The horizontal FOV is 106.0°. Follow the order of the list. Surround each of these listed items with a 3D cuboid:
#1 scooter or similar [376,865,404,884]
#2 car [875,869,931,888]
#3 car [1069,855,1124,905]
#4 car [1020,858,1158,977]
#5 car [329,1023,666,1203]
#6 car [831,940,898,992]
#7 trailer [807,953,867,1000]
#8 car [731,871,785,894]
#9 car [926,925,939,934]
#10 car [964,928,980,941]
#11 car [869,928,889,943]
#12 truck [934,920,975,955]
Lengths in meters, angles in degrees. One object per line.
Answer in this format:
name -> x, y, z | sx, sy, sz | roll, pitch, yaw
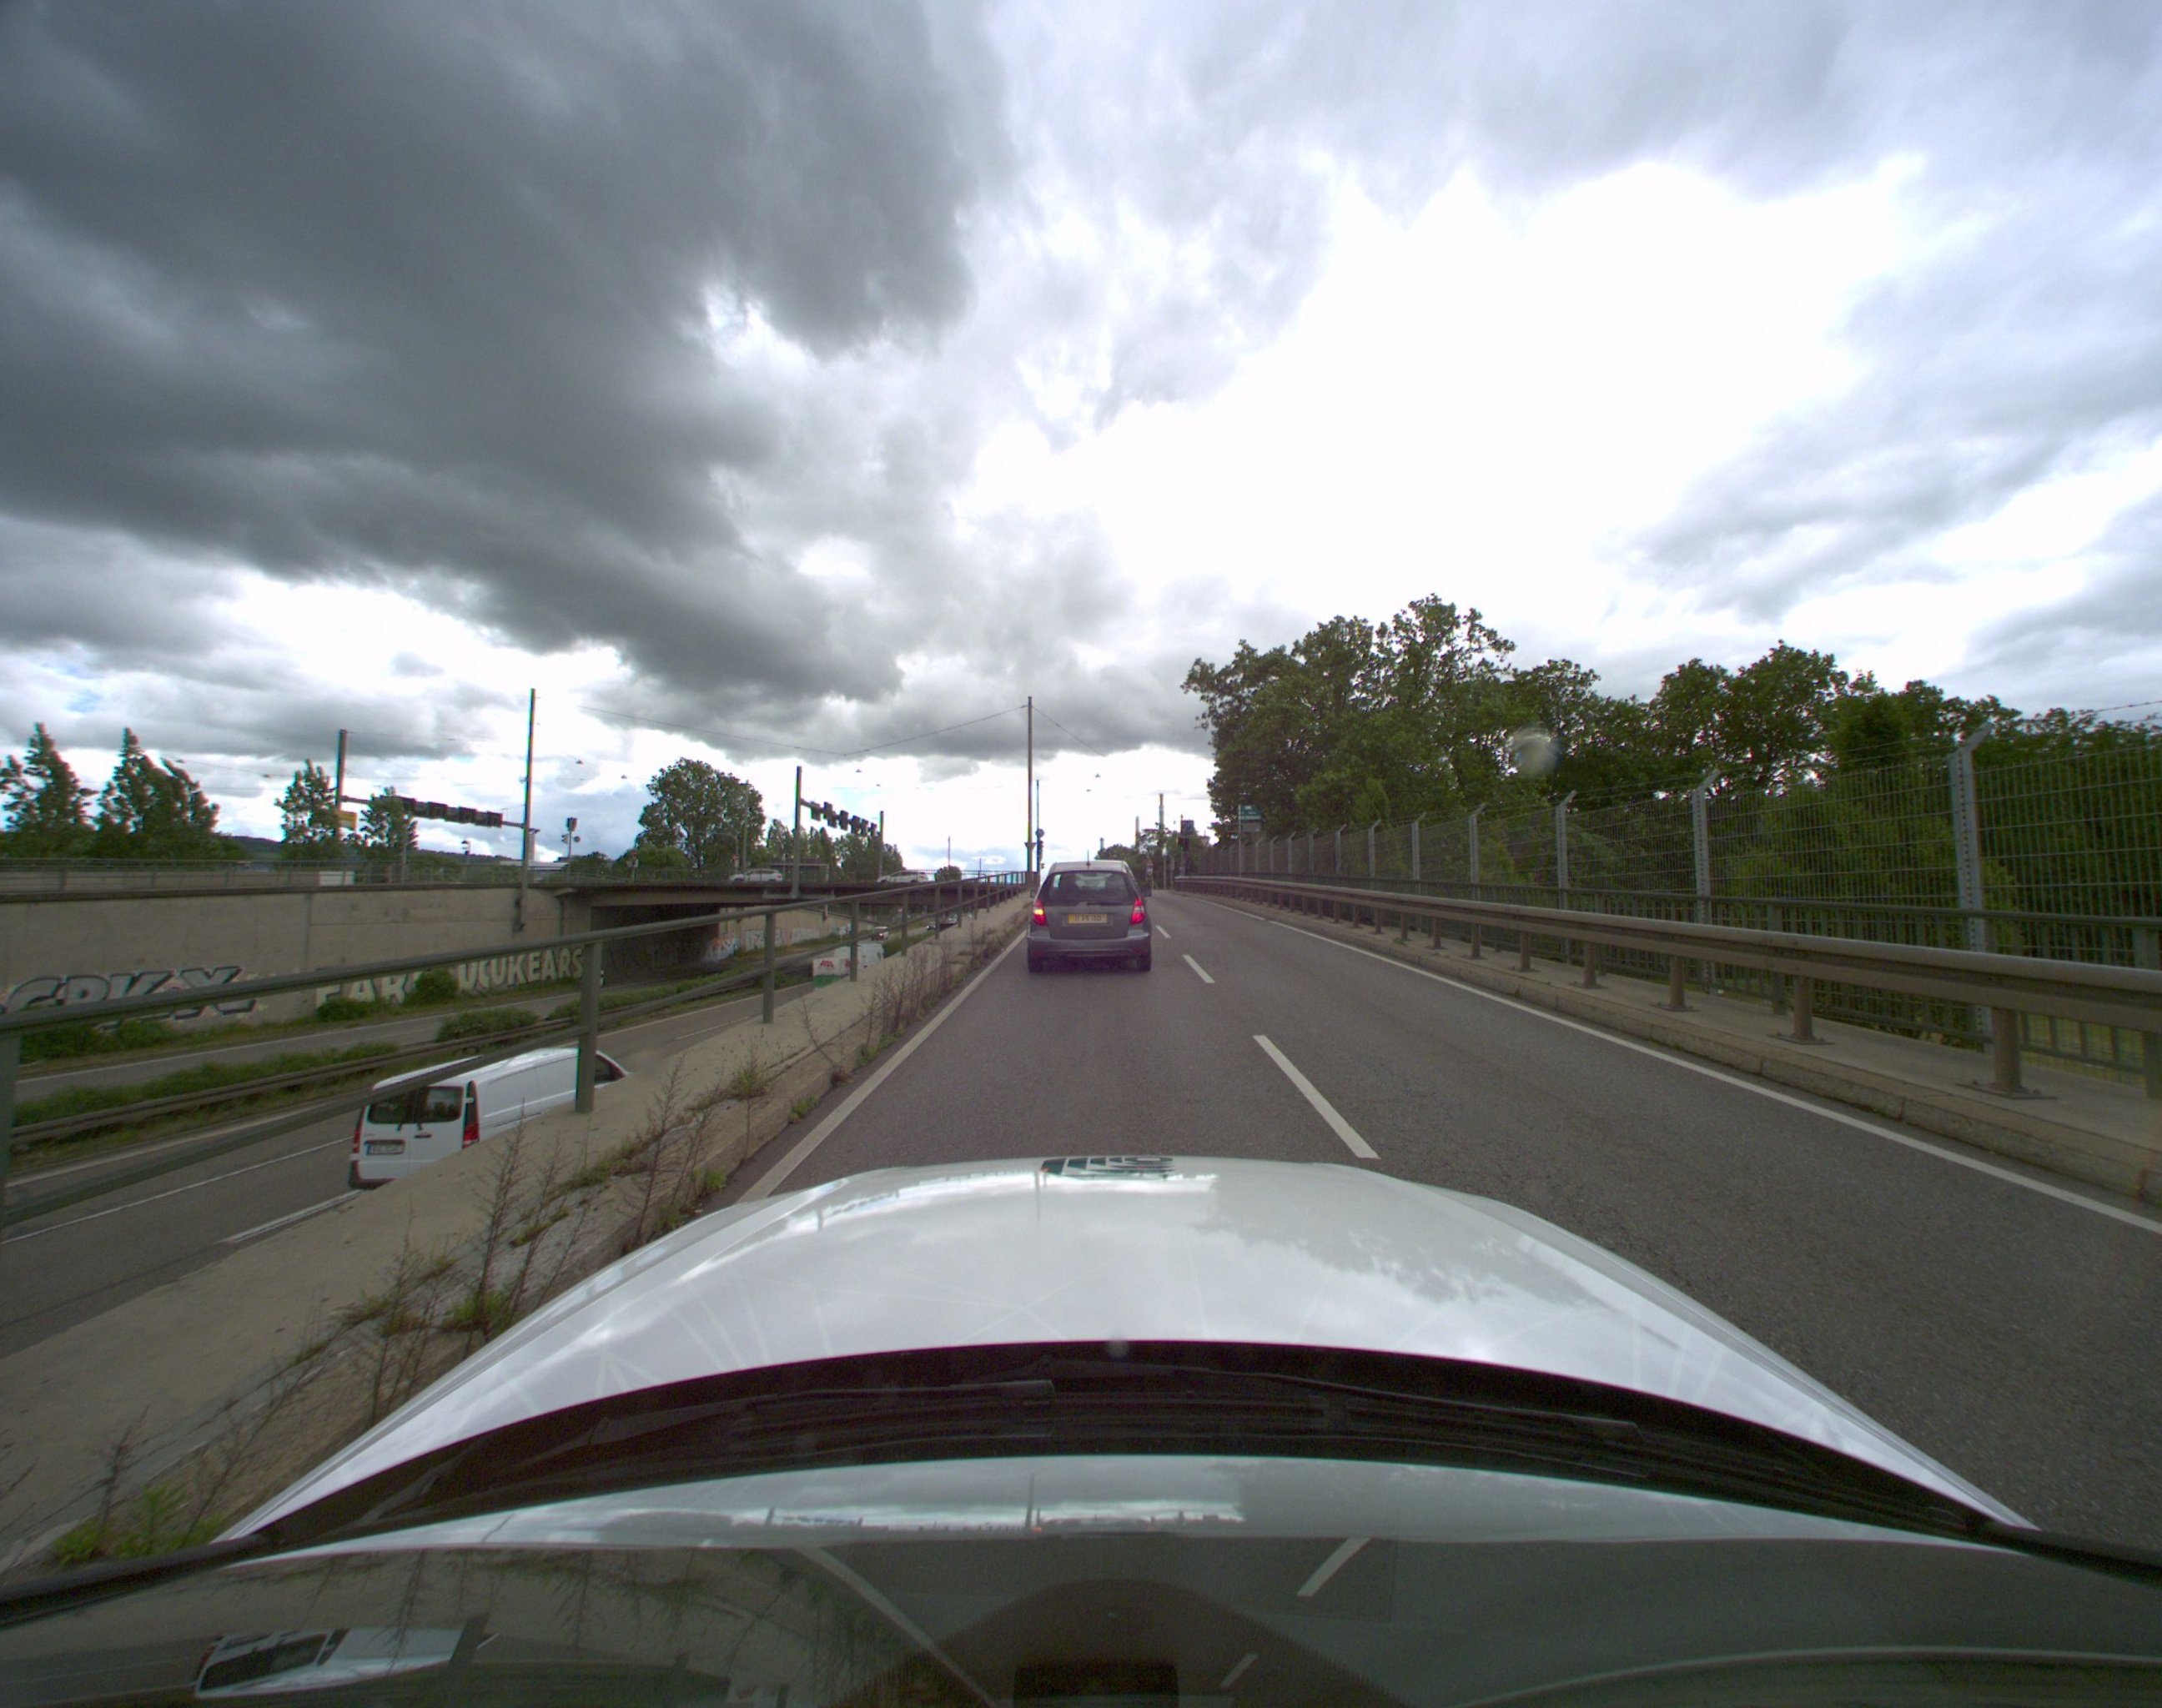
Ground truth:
scooter or similar -> -41.994, 1.273, 49.485 | 0.542, 1.094, 1.414 | -1, -3, -4
car -> -15.244, 2.130, 69.912 | 4.311, 1.576, 1.841 | -1, -1, 5
car -> 0.525, 0.958, 30.897 | 1.926, 1.717, 4.403 | 0, -1, -1
car -> 0.175, 0.876, 12.940 | 1.851, 1.588, 4.001 | 0, -1, 2
car -> -9.739, 4.271, 14.364 | 1.986, 1.877, 5.199 | -1, -5, 2
car -> -12.333, 6.345, 46.848 | 1.986, 2.685, 5.933 | 0, -5, 2
trailer -> -12.488, 6.279, 41.973 | 1.722, 2.130, 3.936 | 0, -5, 2
car -> -27.114, 2.382, 68.481 | 4.214, 1.870, 1.986 | 0, -1, -21
car -> -31.534, 15.974, 172.806 | 1.910, 1.739, 4.549 | -1, -4, -1
car -> -18.250, 13.450, 136.256 | 1.891, 2.003, 4.959 | -1, -4, 2
car -> -31.580, 12.784, 127.687 | 1.988, 2.067, 5.172 | 0, -4, -2
truck -> -12.780, 8.363, 82.597 | 2.736, 3.294, 7.442 | -1, -4, 2
